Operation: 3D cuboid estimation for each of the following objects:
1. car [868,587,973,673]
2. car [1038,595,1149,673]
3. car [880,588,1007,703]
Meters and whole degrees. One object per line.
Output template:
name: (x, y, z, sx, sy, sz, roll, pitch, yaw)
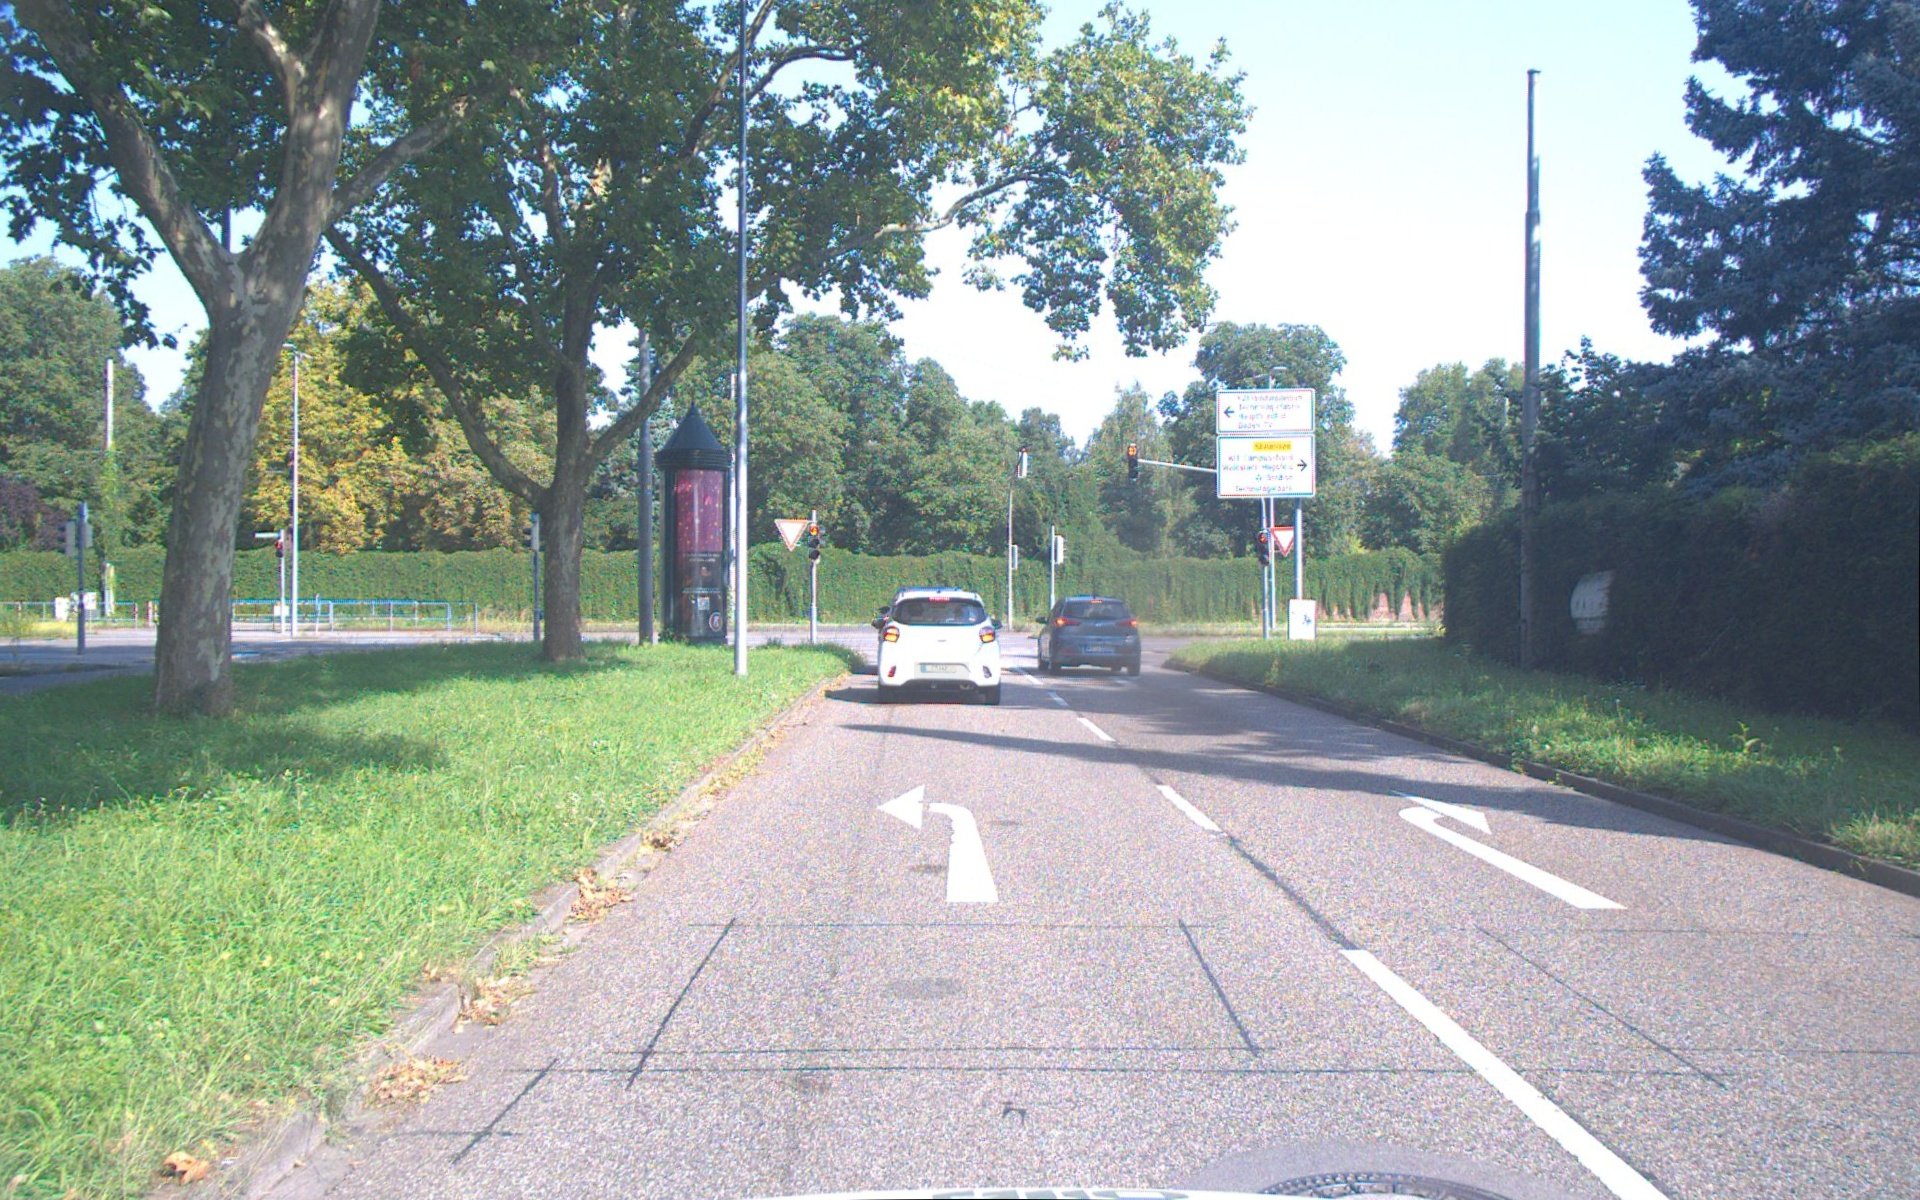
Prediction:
car: (-0.679, 0.520, 30.895, 1.652, 1.487, 3.851, 0, 0, 3)
car: (2.535, 0.618, 32.264, 1.761, 1.425, 3.999, 0, 0, -1)
car: (-0.204, 0.583, 23.535, 1.653, 1.487, 4.000, 0, 0, 0)
